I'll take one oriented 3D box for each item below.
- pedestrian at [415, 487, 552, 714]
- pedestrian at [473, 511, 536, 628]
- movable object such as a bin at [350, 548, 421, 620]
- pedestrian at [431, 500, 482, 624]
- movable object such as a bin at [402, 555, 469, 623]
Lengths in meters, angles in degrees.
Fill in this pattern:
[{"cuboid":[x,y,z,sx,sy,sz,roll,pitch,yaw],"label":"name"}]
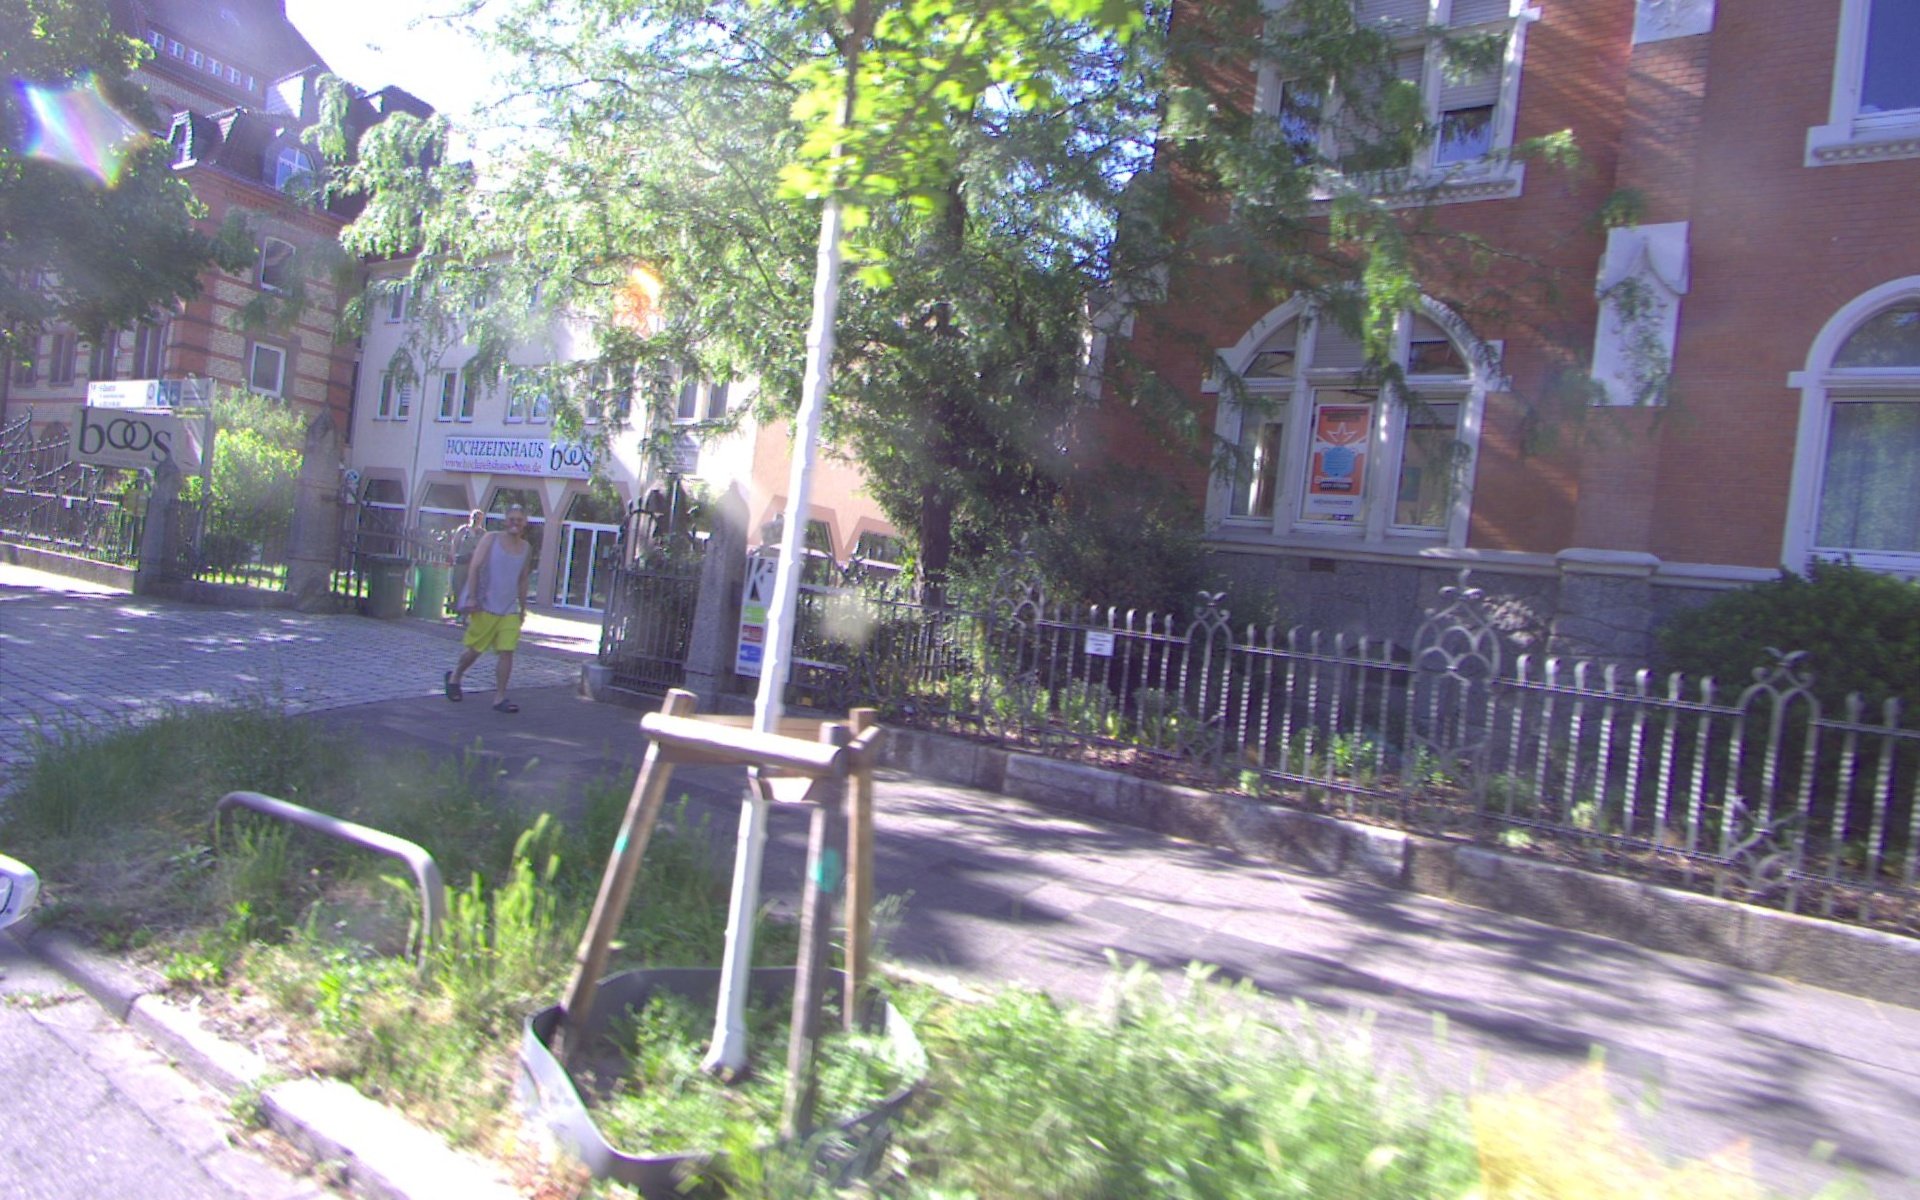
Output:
[{"cuboid":[-4.079,-0.009,8.594,0.745,1.812,0.800,2,4,-45],"label":"pedestrian"},{"cuboid":[-6.997,-0.460,15.455,0.506,1.732,0.539,7,2,24],"label":"pedestrian"},{"cuboid":[-8.533,-0.235,14.952,0.656,0.978,0.625,7,3,31],"label":"movable object such as a bin"},{"cuboid":[-7.641,-0.575,15.265,0.536,1.801,0.528,5,2,-29],"label":"pedestrian"},{"cuboid":[-8.135,-0.161,15.602,0.656,0.978,0.625,7,3,31],"label":"movable object such as a bin"}]
